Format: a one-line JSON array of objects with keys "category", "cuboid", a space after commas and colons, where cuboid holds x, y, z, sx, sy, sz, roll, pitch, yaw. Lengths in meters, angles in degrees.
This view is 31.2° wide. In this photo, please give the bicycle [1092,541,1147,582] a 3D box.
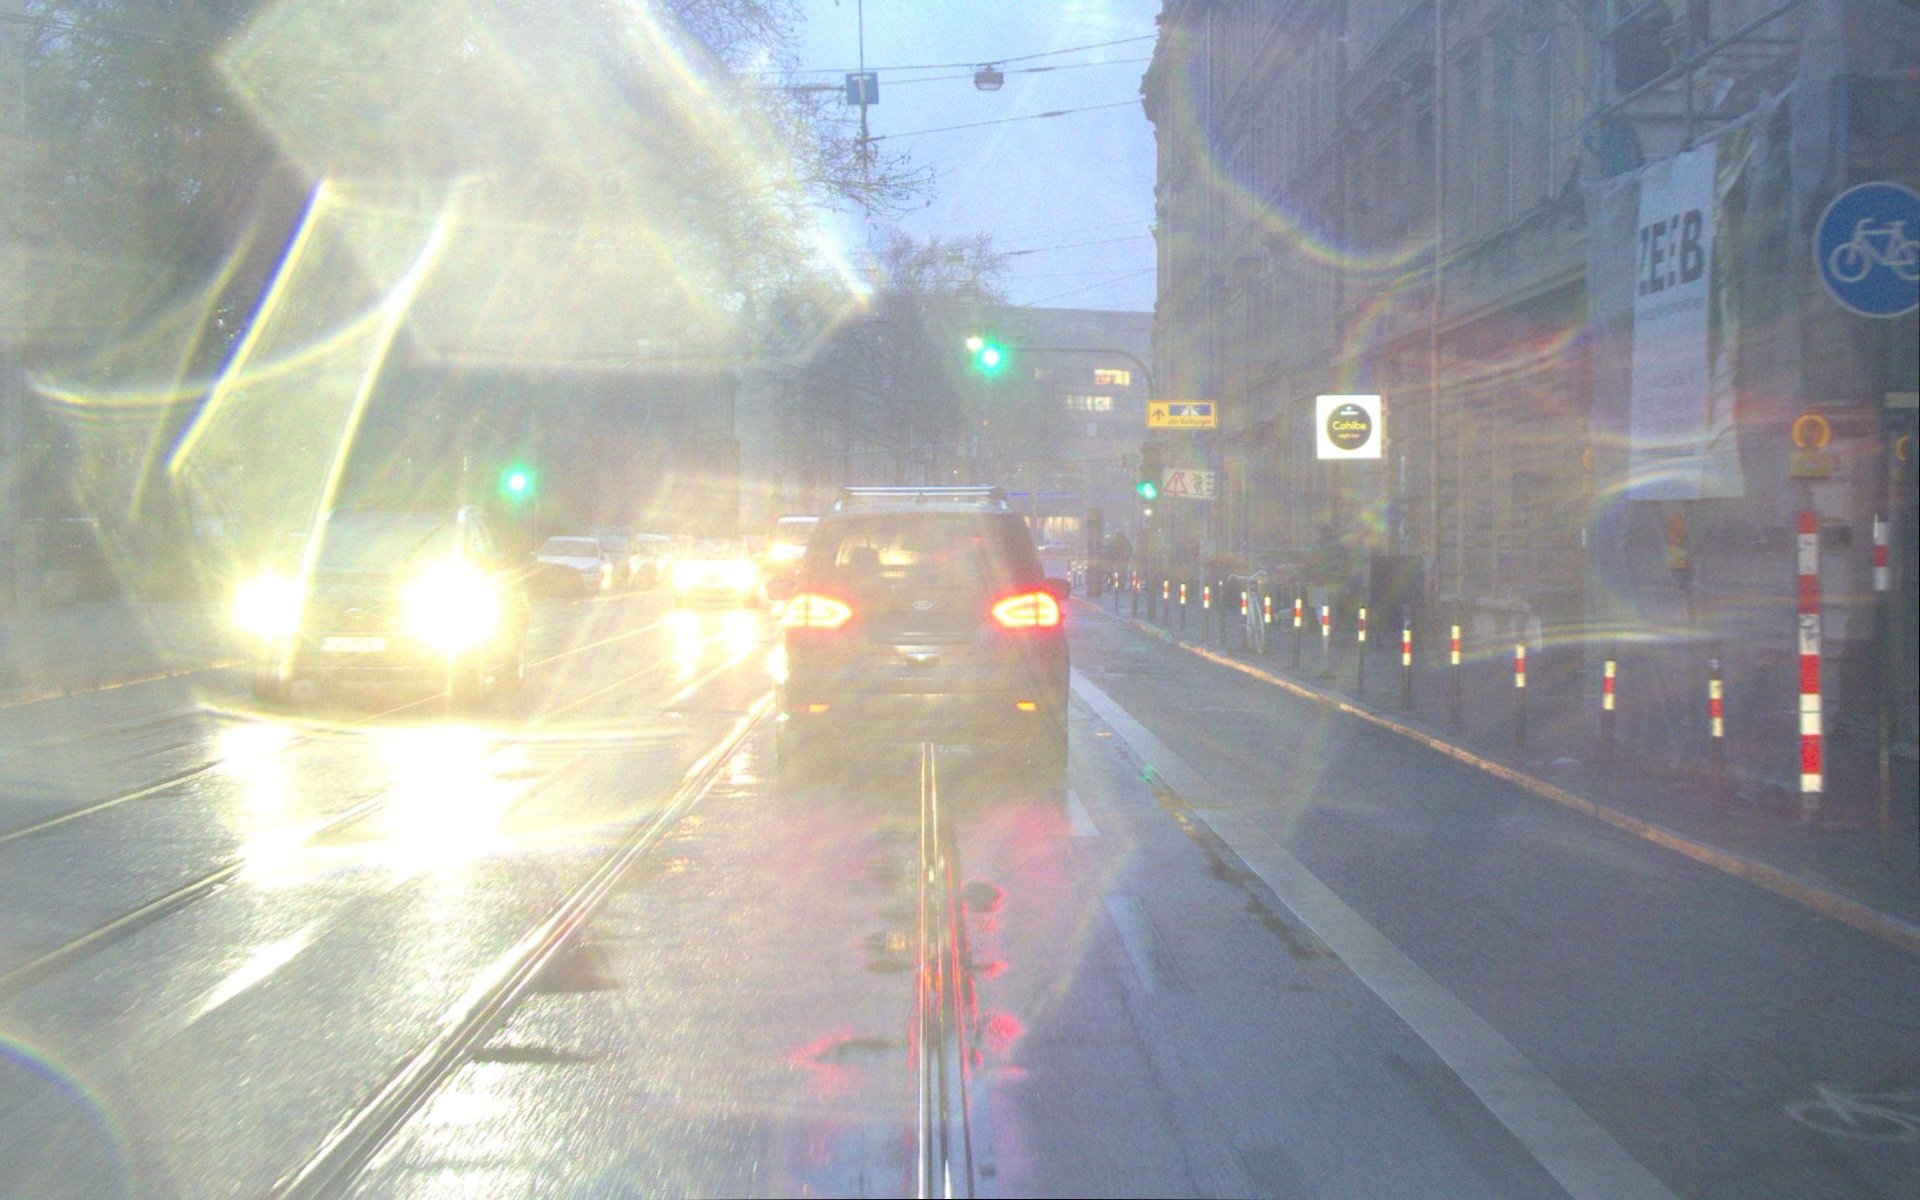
[{"category": "bicycle", "cuboid": [4.551, -1.096, 98.238, 0.792, 1.140, 2.244, 1, 1, -19]}]

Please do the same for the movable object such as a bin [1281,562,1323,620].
[{"category": "movable object such as a bin", "cuboid": [5.517, -0.149, 55.411, 0.611, 0.925, 0.491, 0, 1, -2]}]

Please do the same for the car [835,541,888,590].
[{"category": "car", "cuboid": [-4.162, -1.478, 145.814, 1.993, 2.007, 4.000, 1, 1, 2]}]

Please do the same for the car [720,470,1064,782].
[{"category": "car", "cuboid": [-0.348, 0.121, 22.459, 1.994, 1.835, 4.000, 1, 1, 2]}]

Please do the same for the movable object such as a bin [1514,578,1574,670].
[{"category": "movable object such as a bin", "cuboid": [5.995, 0.241, 35.311, 0.506, 0.928, 0.507, 1, 1, -2]}]

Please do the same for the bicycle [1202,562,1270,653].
[{"category": "bicycle", "cuboid": [3.596, 0.081, 44.941, 0.684, 1.152, 2.188, 1, 1, 0]}]

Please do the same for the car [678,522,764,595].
[{"category": "car", "cuboid": [-4.956, -0.877, 71.613, 1.530, 1.476, 3.561, 0, 1, 0]}]

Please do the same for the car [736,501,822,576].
[{"category": "car", "cuboid": [-5.807, -1.949, 110.808, 2.446, 2.339, 5.845, 0, 1, 0]}]

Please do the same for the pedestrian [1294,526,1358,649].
[{"category": "pedestrian", "cuboid": [5.129, -0.178, 48.112, 0.835, 1.695, 0.953, 1, 0, 8]}]

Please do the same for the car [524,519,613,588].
[{"category": "car", "cuboid": [-9.584, -1.134, 84.358, 1.983, 1.610, 4.430, 1, 1, -5]}]

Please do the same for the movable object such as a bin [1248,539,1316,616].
[{"category": "movable object such as a bin", "cuboid": [5.507, -0.390, 58.851, 0.887, 1.284, 1.262, 0, 1, -7]}]

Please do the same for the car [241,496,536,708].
[{"category": "car", "cuboid": [-4.922, -0.034, 30.232, 1.875, 1.704, 4.761, 0, 1, -1]}]
